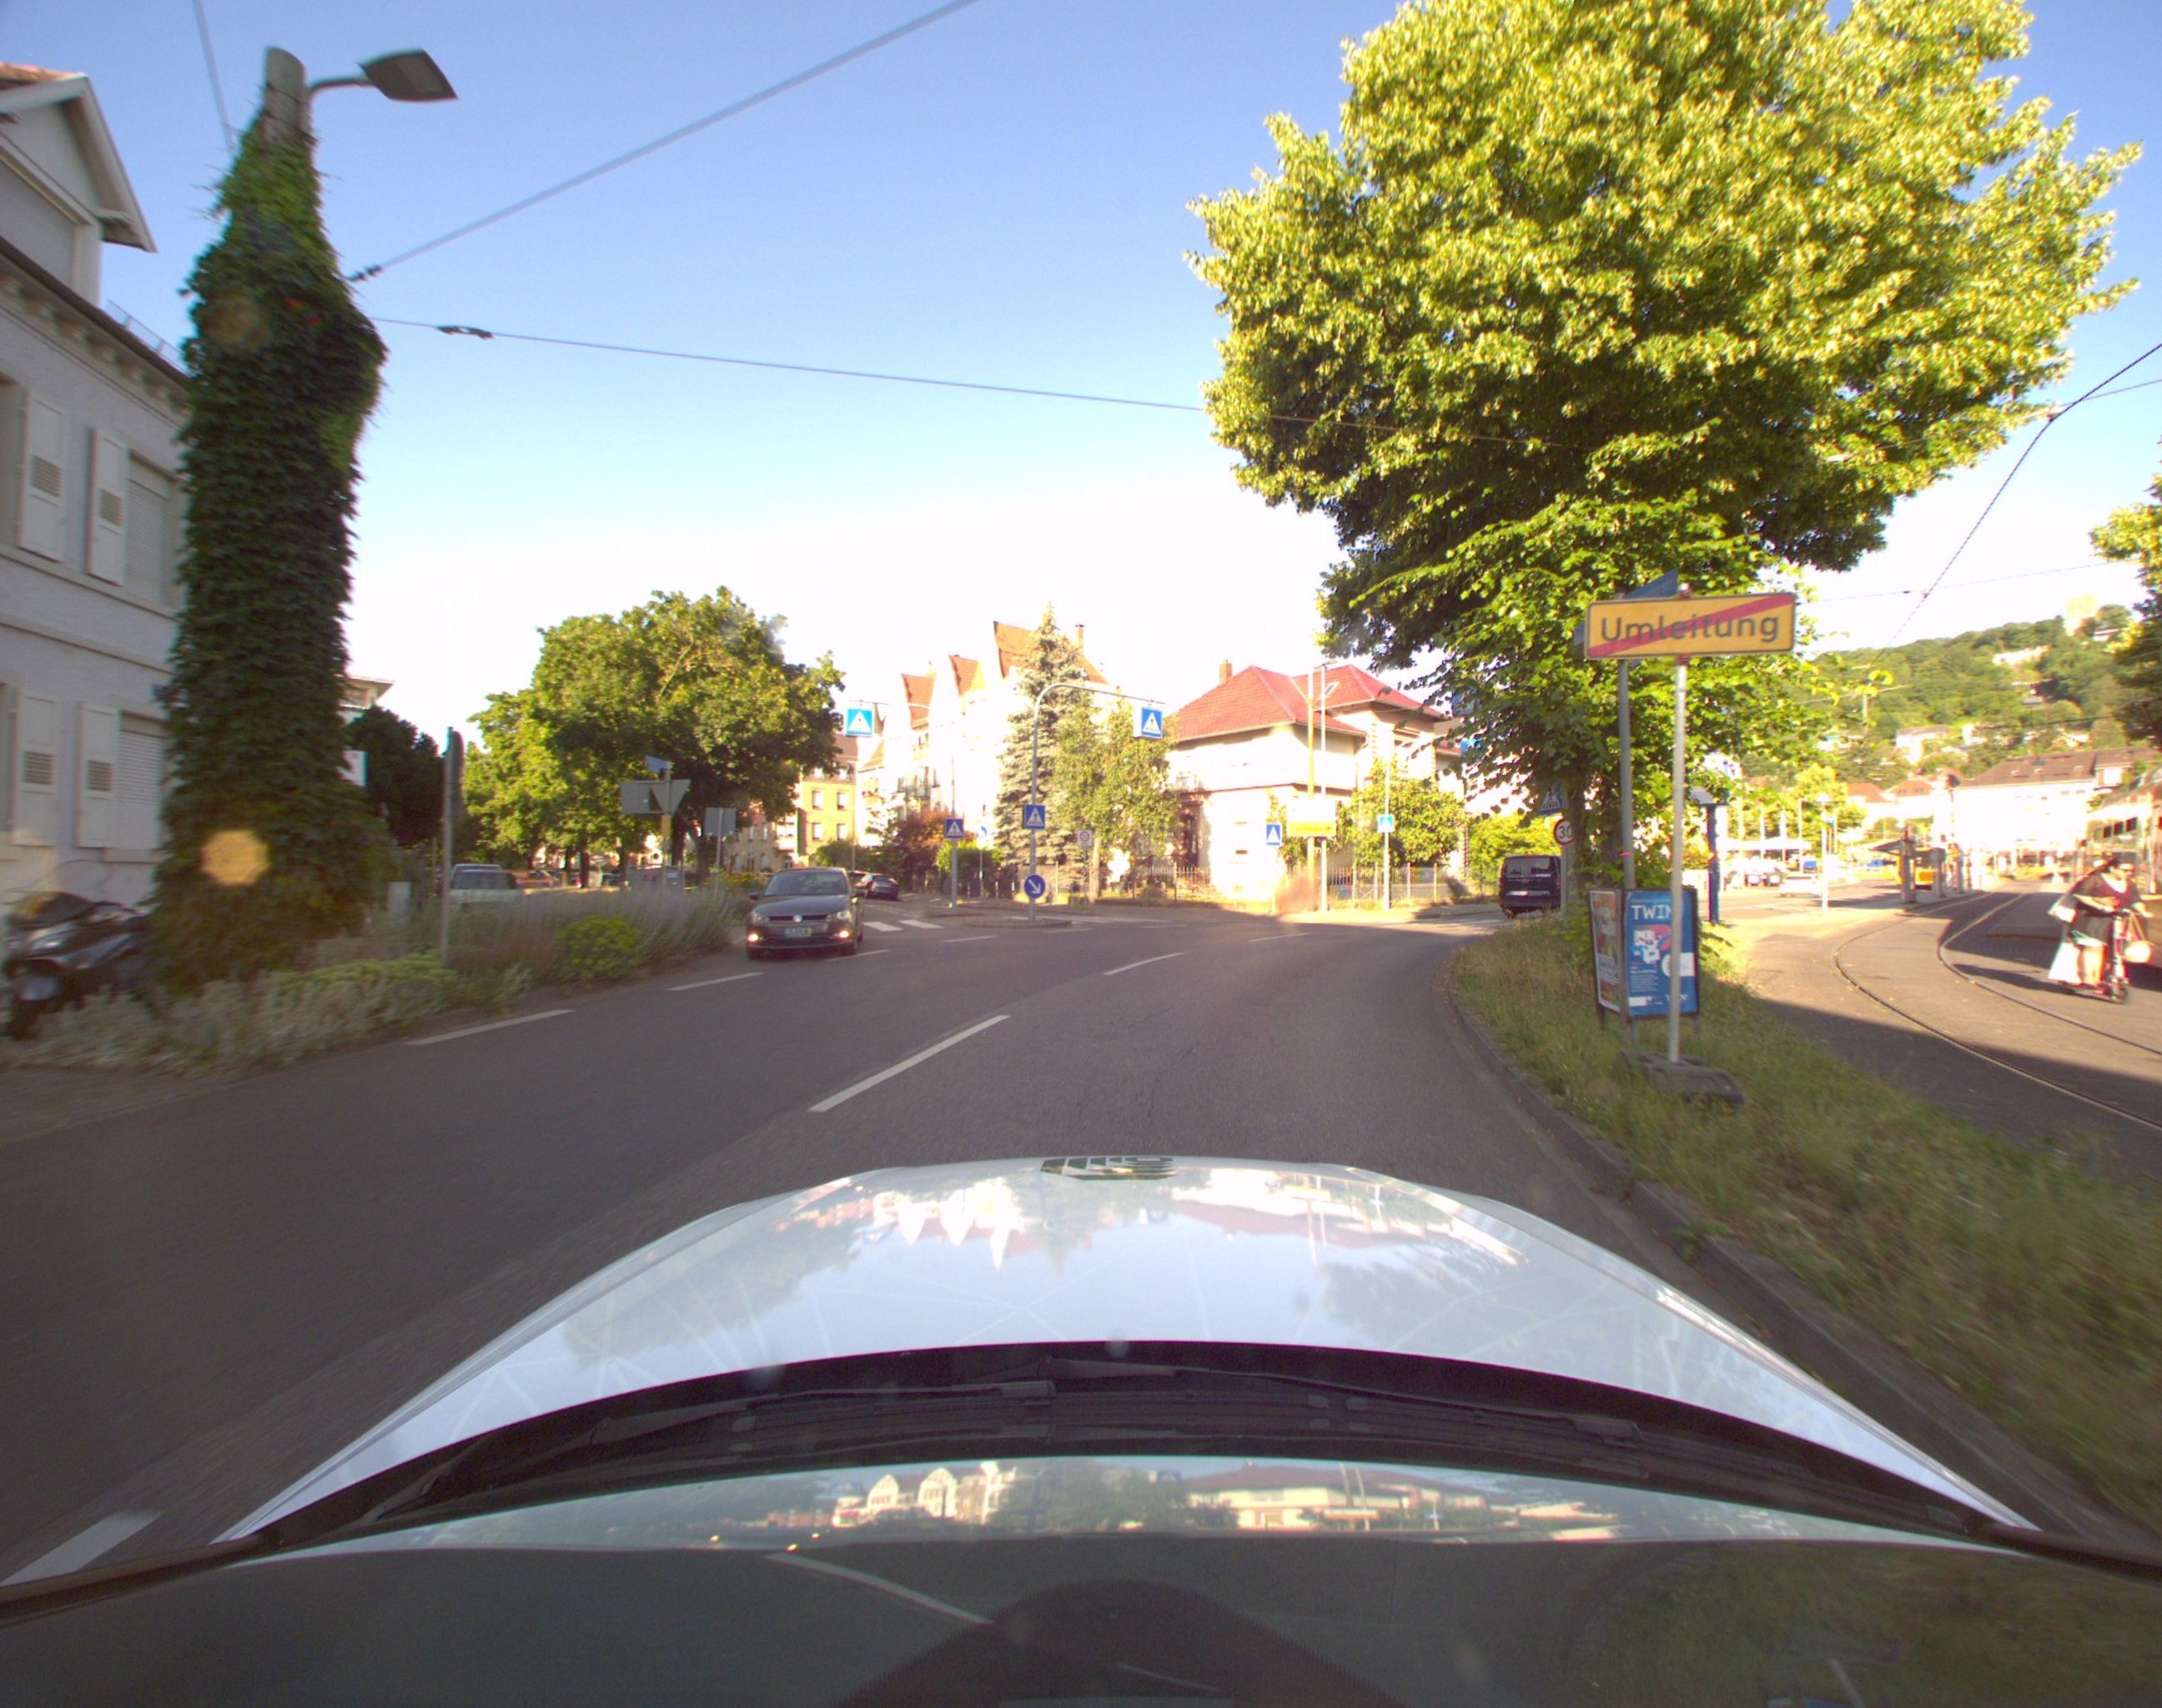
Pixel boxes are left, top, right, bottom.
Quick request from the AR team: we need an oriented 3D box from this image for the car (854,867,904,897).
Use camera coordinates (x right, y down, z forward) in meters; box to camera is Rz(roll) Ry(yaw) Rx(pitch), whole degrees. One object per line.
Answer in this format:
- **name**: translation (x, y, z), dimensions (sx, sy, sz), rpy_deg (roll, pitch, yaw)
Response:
- **car**: translation (-11.339, 1.562, 45.576), dimensions (2.003, 1.596, 3.967), rpy_deg (1, -2, -25)

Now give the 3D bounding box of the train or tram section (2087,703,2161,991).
- **train or tram section**: translation (17.598, -0.030, 12.067), dimensions (9.973, 3.556, 2.751), rpy_deg (1, -1, -42)

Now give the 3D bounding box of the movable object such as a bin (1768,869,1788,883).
- **movable object such as a bin**: translation (66.112, 2.084, 77.288), dimensions (1.412, 1.228, 0.965), rpy_deg (0, -2, 40)

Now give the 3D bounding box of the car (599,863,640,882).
- **car**: translation (-50.682, 1.998, 89.412), dimensions (4.866, 2.041, 2.362), rpy_deg (0, -2, 41)

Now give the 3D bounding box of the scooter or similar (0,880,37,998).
- **scooter or similar**: translation (-11.503, 0.894, 8.294), dimensions (0.511, 1.229, 1.525), rpy_deg (2, -2, -31)

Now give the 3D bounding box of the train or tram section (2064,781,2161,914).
- **train or tram section**: translation (32.680, -0.142, 25.084), dimensions (9.971, 3.556, 2.751), rpy_deg (1, -1, -41)

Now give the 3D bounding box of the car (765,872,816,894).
- **car**: translation (-22.689, 2.246, 63.508), dimensions (2.358, 1.596, 4.874), rpy_deg (2, -2, -37)

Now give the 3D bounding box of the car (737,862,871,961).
- **car**: translation (-4.583, 0.870, 13.979), dimensions (1.714, 1.403, 3.722), rpy_deg (-2, 0, -12)

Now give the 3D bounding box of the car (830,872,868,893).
- **car**: translation (-14.148, 1.718, 49.520), dimensions (1.664, 1.236, 3.766), rpy_deg (1, -2, -25)

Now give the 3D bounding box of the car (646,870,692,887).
- **car**: translation (-41.319, 2.422, 81.608), dimensions (4.866, 1.596, 2.362), rpy_deg (0, -2, 41)

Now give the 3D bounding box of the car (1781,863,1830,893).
- **car**: translation (43.636, 1.470, 49.116), dimensions (1.974, 1.717, 4.025), rpy_deg (0, -2, 38)

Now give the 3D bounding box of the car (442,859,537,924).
- **car**: translation (-15.508, 0.929, 21.336), dimensions (1.822, 1.537, 3.866), rpy_deg (2, -2, -37)

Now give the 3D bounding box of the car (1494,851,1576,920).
- **car**: translation (14.635, 0.964, 26.124), dimensions (1.974, 2.014, 4.025), rpy_deg (0, -1, 34)

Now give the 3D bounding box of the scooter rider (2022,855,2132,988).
- **scooter rider**: translation (12.940, 0.852, 10.601), dimensions (0.647, 1.672, 0.610), rpy_deg (-1, -1, 17)

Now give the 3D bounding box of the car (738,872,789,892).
- **car**: translation (-26.491, 2.298, 67.891), dimensions (2.360, 1.596, 4.869), rpy_deg (2, -2, -43)

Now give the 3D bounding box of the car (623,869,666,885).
- **car**: translation (-45.611, 2.432, 85.109), dimensions (4.866, 1.596, 2.362), rpy_deg (0, -2, 41)

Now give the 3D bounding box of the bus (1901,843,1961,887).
- **bus**: translation (69.447, 0.977, 66.440), dimensions (10.261, 3.291, 2.681), rpy_deg (2, -2, -40)

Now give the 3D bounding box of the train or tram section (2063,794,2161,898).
- **train or tram section**: translation (40.324, -0.224, 31.461), dimensions (9.971, 3.556, 2.751), rpy_deg (1, -1, -41)

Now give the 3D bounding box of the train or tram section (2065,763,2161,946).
- **train or tram section**: translation (25.015, 0.042, 18.728), dimensions (9.971, 3.556, 2.751), rpy_deg (1, -1, -41)

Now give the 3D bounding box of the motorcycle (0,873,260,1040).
- **motorcycle**: translation (-9.252, 0.872, 7.909), dimensions (0.935, 1.357, 2.543), rpy_deg (2, -2, -25)

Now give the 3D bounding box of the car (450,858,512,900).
- **car**: translation (-25.458, 1.044, 34.627), dimensions (1.950, 1.663, 4.460), rpy_deg (2, -2, -36)

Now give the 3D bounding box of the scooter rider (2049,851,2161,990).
- **scooter rider**: translation (12.790, 0.802, 10.170), dimensions (0.647, 1.672, 0.610), rpy_deg (-1, -1, 17)

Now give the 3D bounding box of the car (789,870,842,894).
- **car**: translation (-19.367, 2.026, 59.251), dimensions (2.357, 1.596, 4.876), rpy_deg (2, -2, -35)

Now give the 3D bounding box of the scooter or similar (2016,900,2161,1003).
- **scooter or similar**: translation (12.822, 1.186, 10.293), dimensions (0.677, 1.137, 1.413), rpy_deg (0, 0, 18)

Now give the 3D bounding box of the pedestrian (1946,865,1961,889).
- **pedestrian**: translation (65.528, 1.732, 61.174), dimensions (0.541, 1.767, 0.552), rpy_deg (1, -2, -1)
